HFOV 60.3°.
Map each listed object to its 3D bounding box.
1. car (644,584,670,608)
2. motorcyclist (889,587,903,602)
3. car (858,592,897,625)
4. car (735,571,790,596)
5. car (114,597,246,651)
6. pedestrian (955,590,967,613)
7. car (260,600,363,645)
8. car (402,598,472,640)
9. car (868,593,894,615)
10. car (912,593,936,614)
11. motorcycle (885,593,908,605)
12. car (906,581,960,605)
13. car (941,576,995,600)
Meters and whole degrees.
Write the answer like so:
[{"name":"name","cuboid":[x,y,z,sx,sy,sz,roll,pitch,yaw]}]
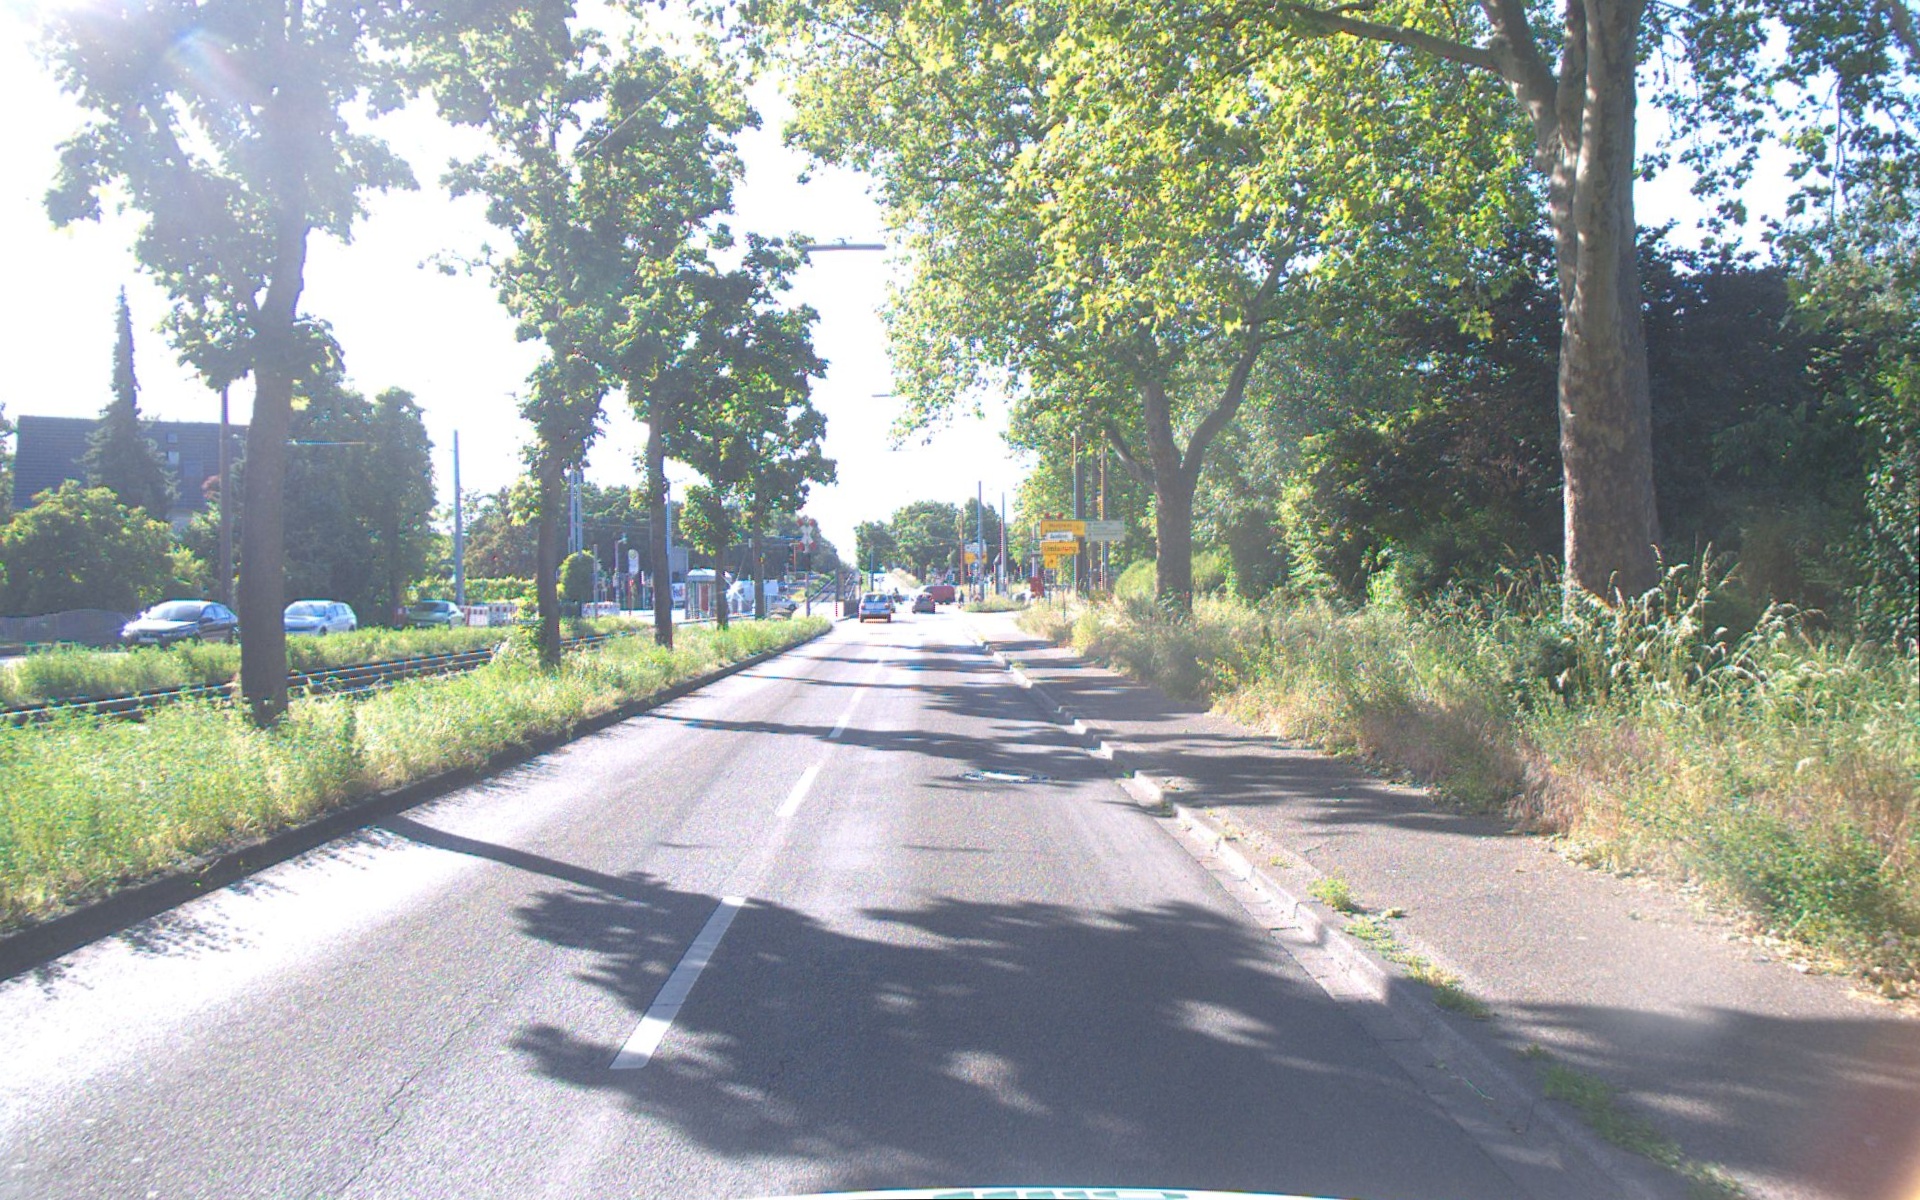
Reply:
[{"name":"car","cuboid":[-30.543,-0.382,166.905,2.047,2.396,5.255,1,0,-5]},{"name":"motorcyclist","cuboid":[-6.658,-0.578,171.658,1.300,1.474,0.723,1,0,-27]},{"name":"car","cuboid":[-4.120,0.417,83.193,1.822,1.629,4.226,1,0,-2]},{"name":"car","cuboid":[-19.700,-1.623,165.043,5.187,2.396,1.848,1,0,-30]},{"name":"car","cuboid":[-21.836,0.641,46.485,1.822,1.438,4.157,1,0,-2]},{"name":"pedestrian","cuboid":[0.090,0.135,140.302,0.907,1.867,0.638,1,0,3]},{"name":"car","cuboid":[-22.033,0.733,56.384,1.822,1.456,4.460,1,0,-2]},{"name":"car","cuboid":[-22.487,0.799,71.272,1.742,1.737,4.226,1,0,-2]},{"name":"car","cuboid":[-6.264,0.309,131.902,1.953,1.631,4.472,1,0,-2]},{"name":"car","cuboid":[-2.760,0.257,126.878,1.755,1.586,4.226,1,0,-2]},{"name":"motorcycle","cuboid":[-6.596,-0.137,171.693,2.345,1.204,0.723,1,0,-28]},{"name":"car","cuboid":[-2.754,-0.702,167.911,5.084,2.315,1.984,1,0,-26]},{"name":"car","cuboid":[0.838,-1.183,165.512,5.084,2.315,1.984,1,0,-26]}]
